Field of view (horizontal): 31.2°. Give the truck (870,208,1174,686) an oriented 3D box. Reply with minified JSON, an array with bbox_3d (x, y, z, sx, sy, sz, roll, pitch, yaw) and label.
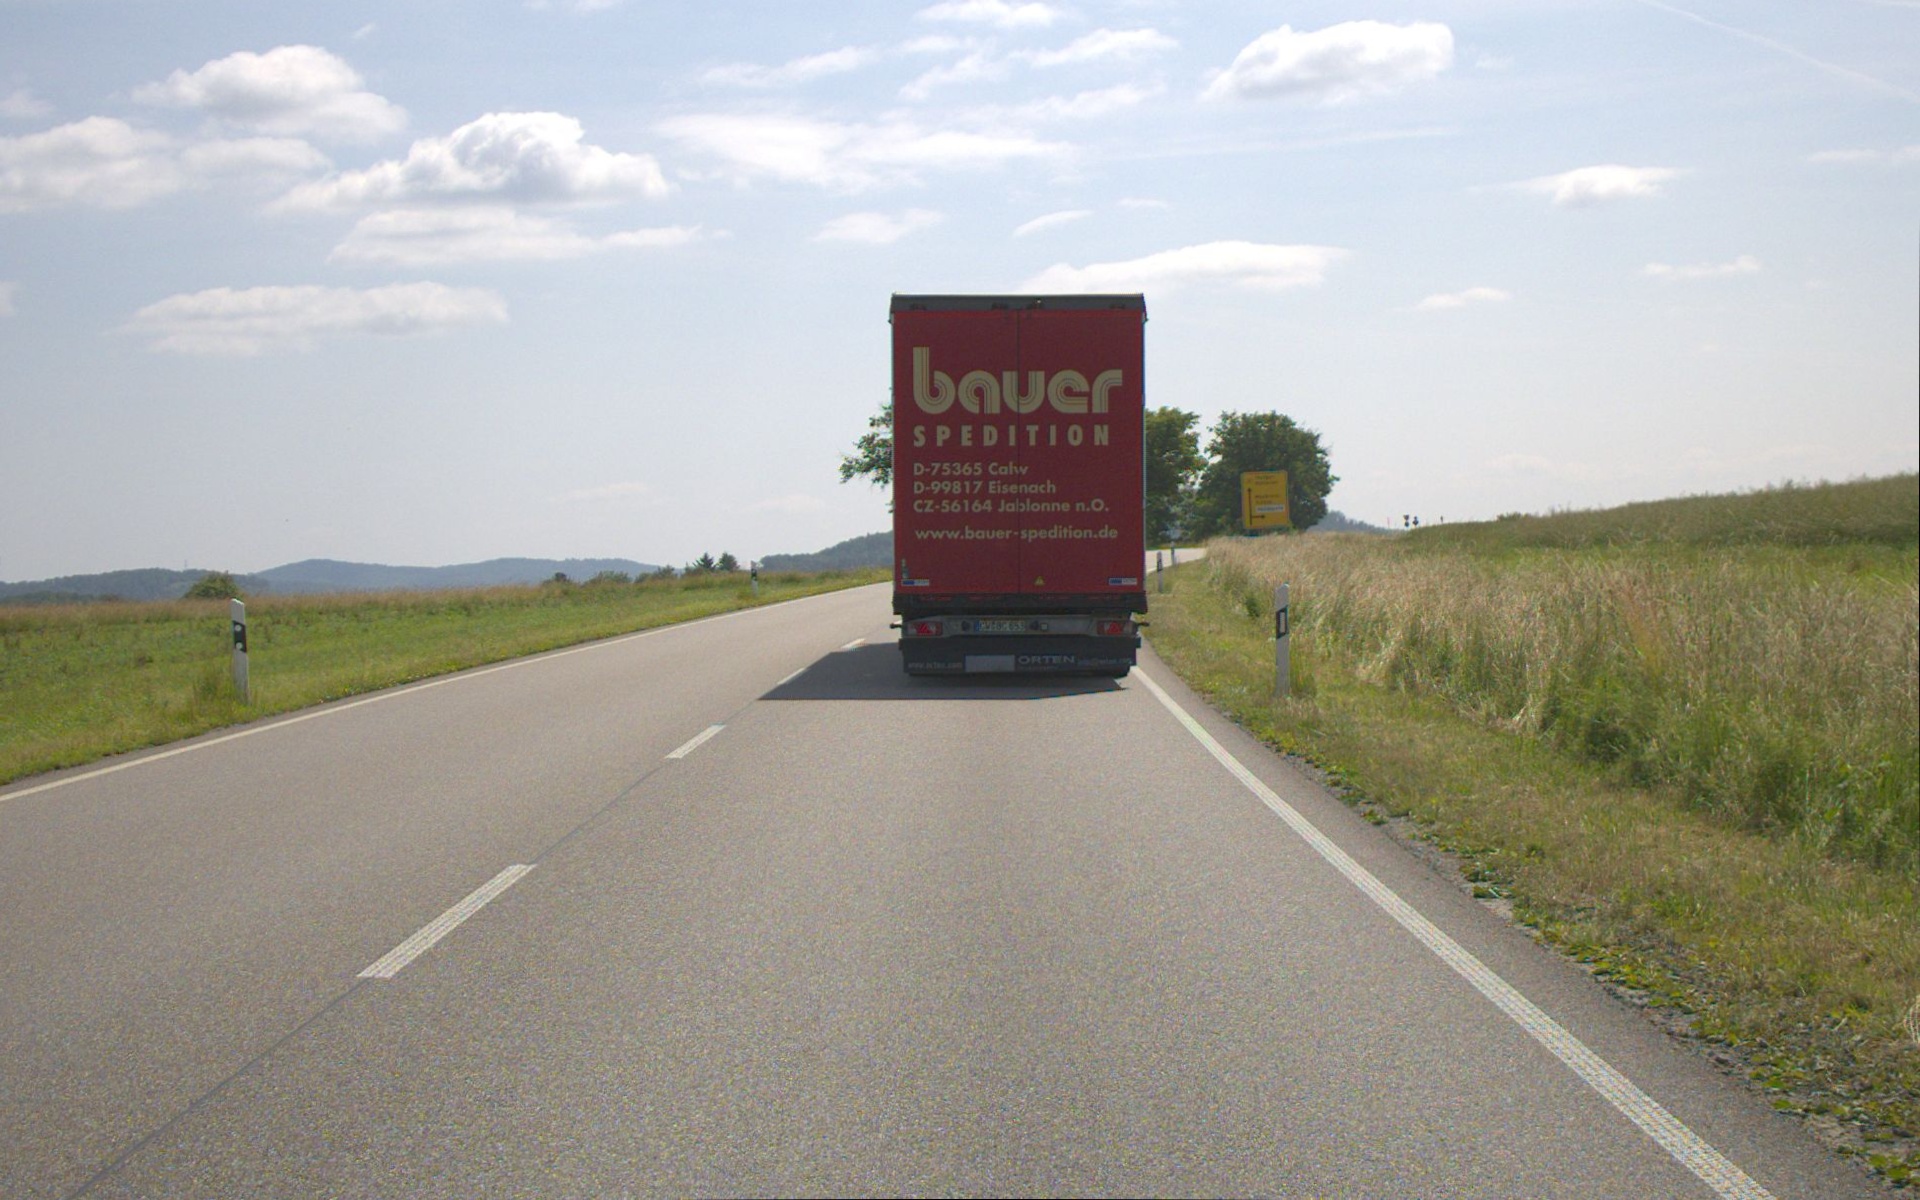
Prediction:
[{"bbox_3d":[0.675,-1.637,38.626,2.975,4.697,9.366,0,2,1],"label":"truck"}]
